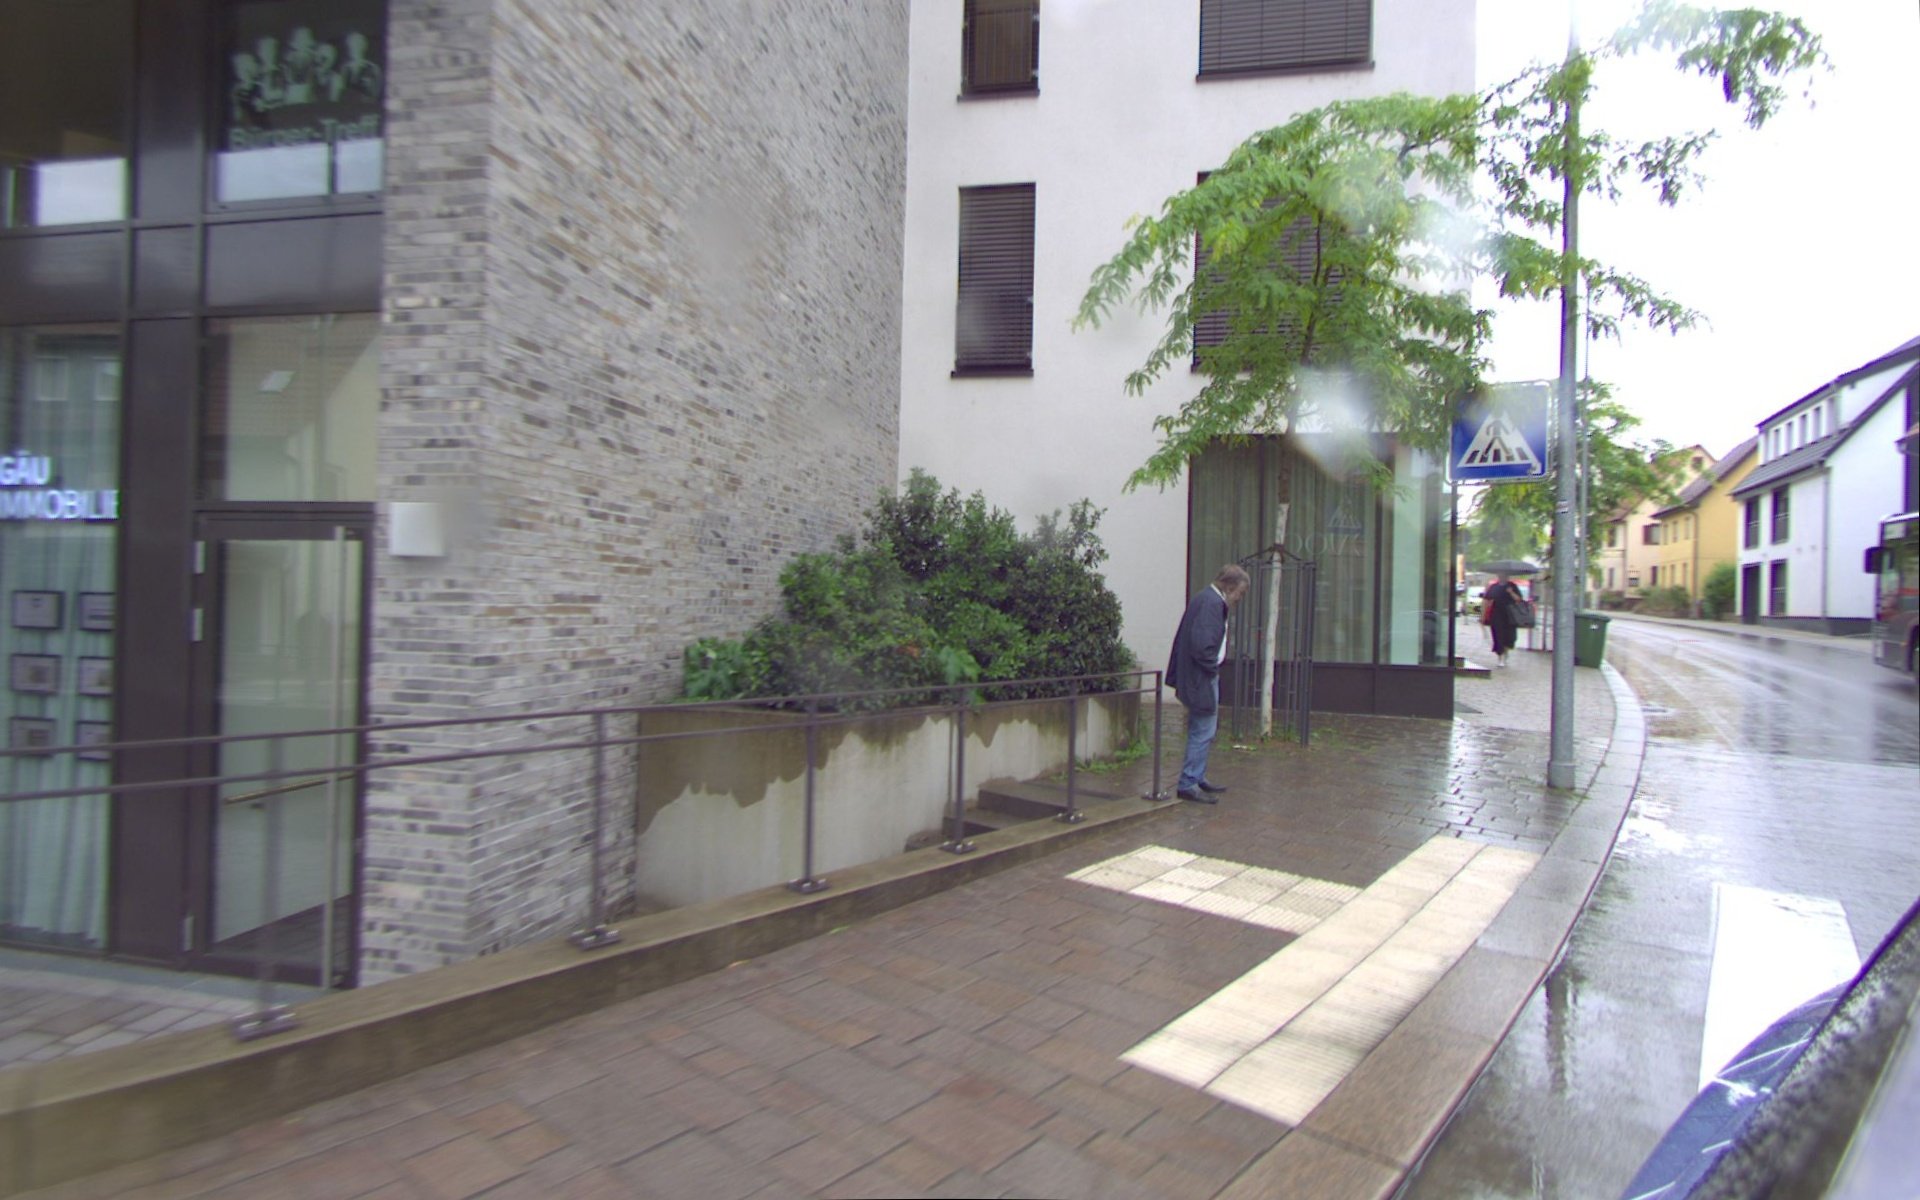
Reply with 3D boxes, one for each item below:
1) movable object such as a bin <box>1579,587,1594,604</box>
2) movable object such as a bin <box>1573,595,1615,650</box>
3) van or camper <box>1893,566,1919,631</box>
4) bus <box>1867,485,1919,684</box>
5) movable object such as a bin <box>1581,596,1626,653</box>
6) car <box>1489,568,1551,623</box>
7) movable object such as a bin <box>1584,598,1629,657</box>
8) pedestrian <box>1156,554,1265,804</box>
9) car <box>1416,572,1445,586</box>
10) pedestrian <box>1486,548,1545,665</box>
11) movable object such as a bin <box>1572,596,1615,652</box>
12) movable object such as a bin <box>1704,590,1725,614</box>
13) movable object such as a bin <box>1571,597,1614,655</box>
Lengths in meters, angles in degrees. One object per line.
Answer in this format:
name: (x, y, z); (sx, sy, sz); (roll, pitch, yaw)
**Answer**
movable object such as a bin: (40.429, -0.305, 65.322); (0.707, 1.072, 0.572); (0, 2, 21)
movable object such as a bin: (14.427, 0.509, 23.023); (0.749, 1.185, 0.623); (2, 2, 34)
van or camper: (32.012, -0.231, 30.663); (4.990, 1.958, 1.982); (-5, -1, 27)
bus: (15.021, -0.199, 13.119); (2.710, 3.118, 10.828); (0, 1, 30)
movable object such as a bin: (13.311, 0.490, 20.949); (0.758, 1.132, 0.617); (1, 1, 31)
car: (21.815, -0.241, 39.538); (1.824, 1.930, 4.563); (3, 3, 26)
movable object such as a bin: (12.714, 0.526, 19.929); (0.720, 1.132, 0.570); (1, 1, 31)
pedestrian: (1.757, 0.505, 7.058); (0.578, 1.625, 0.698); (2, 2, 23)
car: (52.305, -2.312, 112.570); (1.969, 1.463, 3.987); (0, 2, 12)
pedestrian: (10.014, 0.091, 18.289); (0.861, 2.038, 1.073); (0, 1, 26)
movable object such as a bin: (14.066, 0.524, 22.472); (0.749, 1.185, 0.623); (2, 2, 34)
movable object such as a bin: (38.273, 0.107, 51.357); (0.654, 1.122, 0.714); (5, 3, 28)
movable object such as a bin: (13.700, 0.544, 21.918); (0.749, 1.185, 0.623); (2, 2, 34)
